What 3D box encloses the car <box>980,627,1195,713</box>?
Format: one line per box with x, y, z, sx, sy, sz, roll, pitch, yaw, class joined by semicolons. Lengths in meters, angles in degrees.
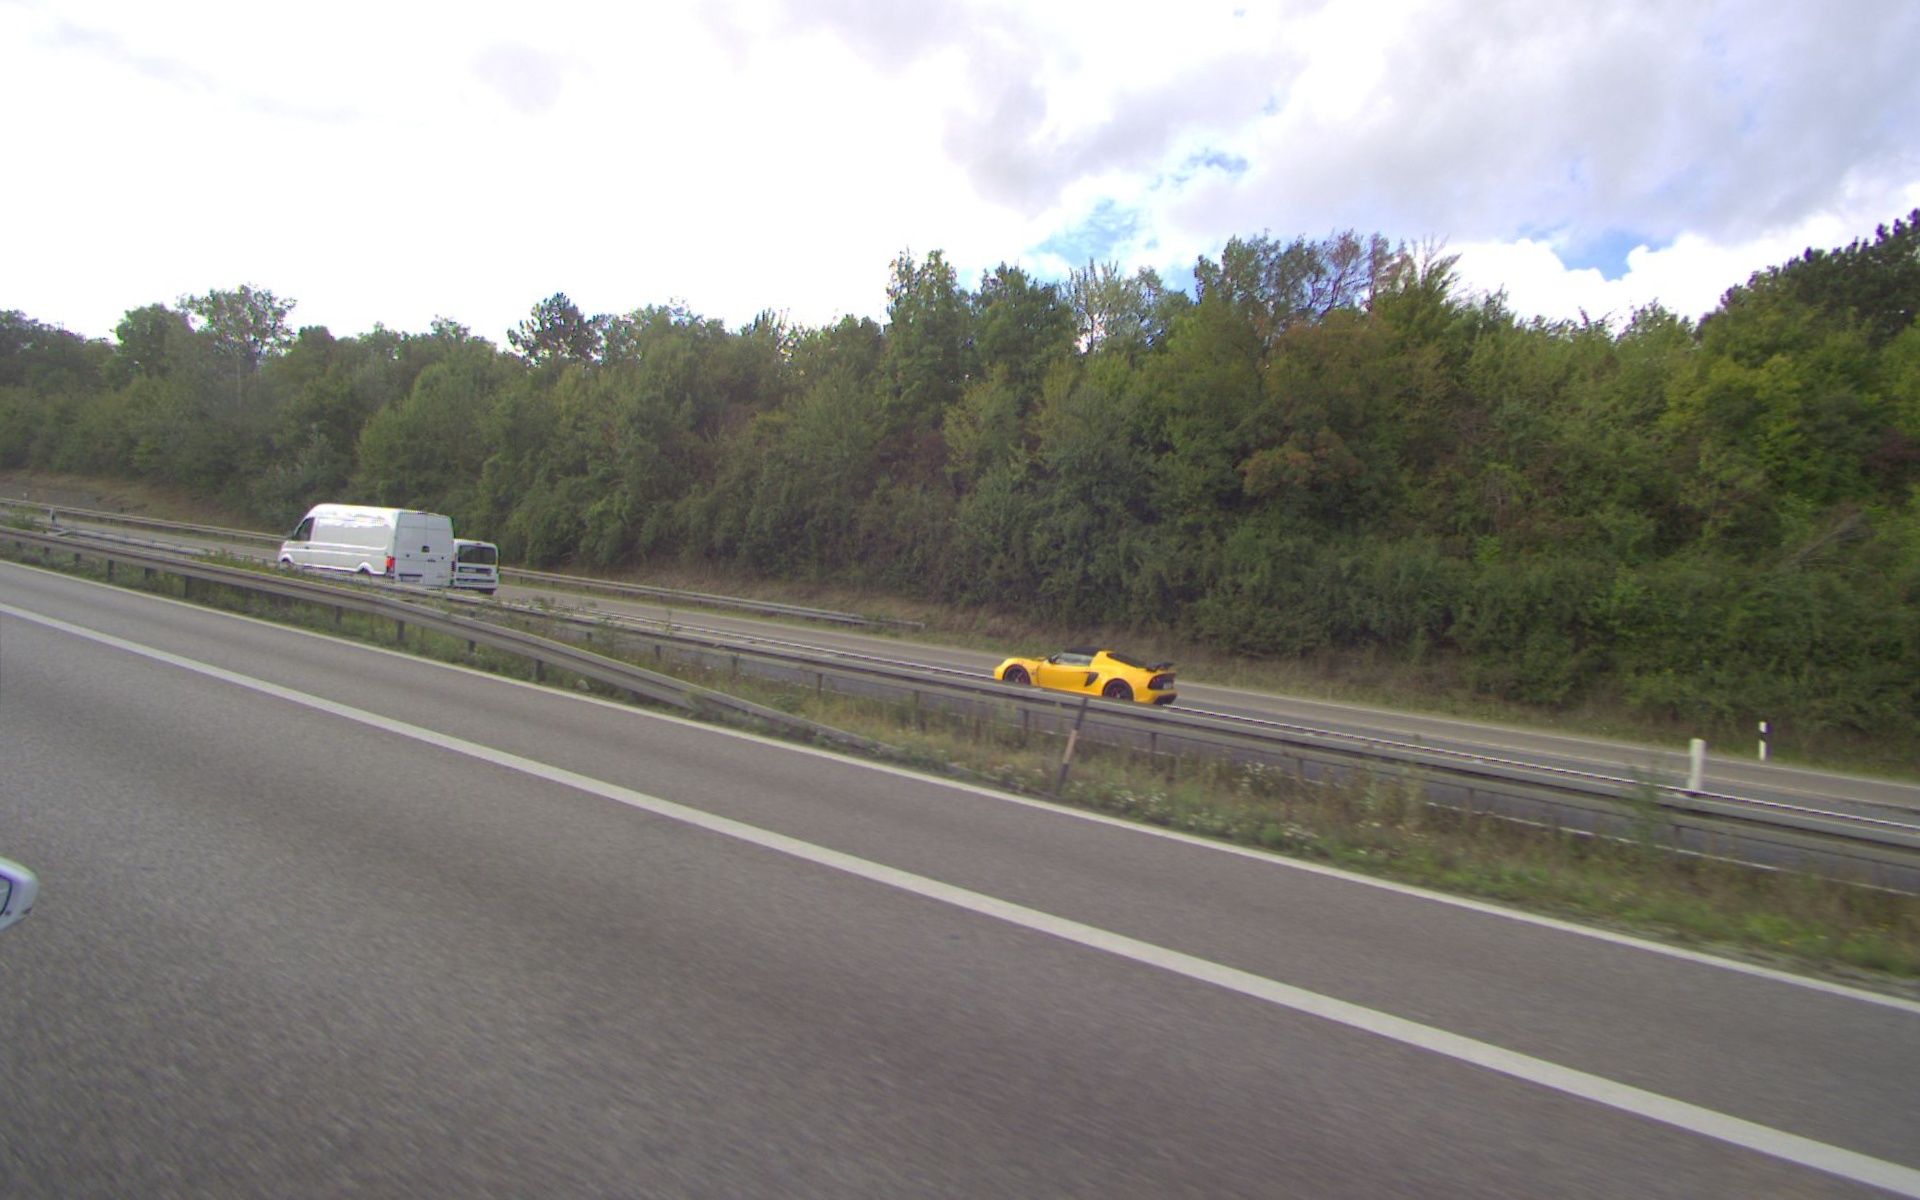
2.667;1.469;21.335;4.099;1.196;1.715;7;-1;31;car

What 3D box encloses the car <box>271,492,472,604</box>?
-17.527;-1.591;29.794;6.630;2.586;2.072;7;1;31;car

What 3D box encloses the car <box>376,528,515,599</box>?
-17.306;-1.252;33.789;4.685;1.773;1.846;7;-1;32;car
